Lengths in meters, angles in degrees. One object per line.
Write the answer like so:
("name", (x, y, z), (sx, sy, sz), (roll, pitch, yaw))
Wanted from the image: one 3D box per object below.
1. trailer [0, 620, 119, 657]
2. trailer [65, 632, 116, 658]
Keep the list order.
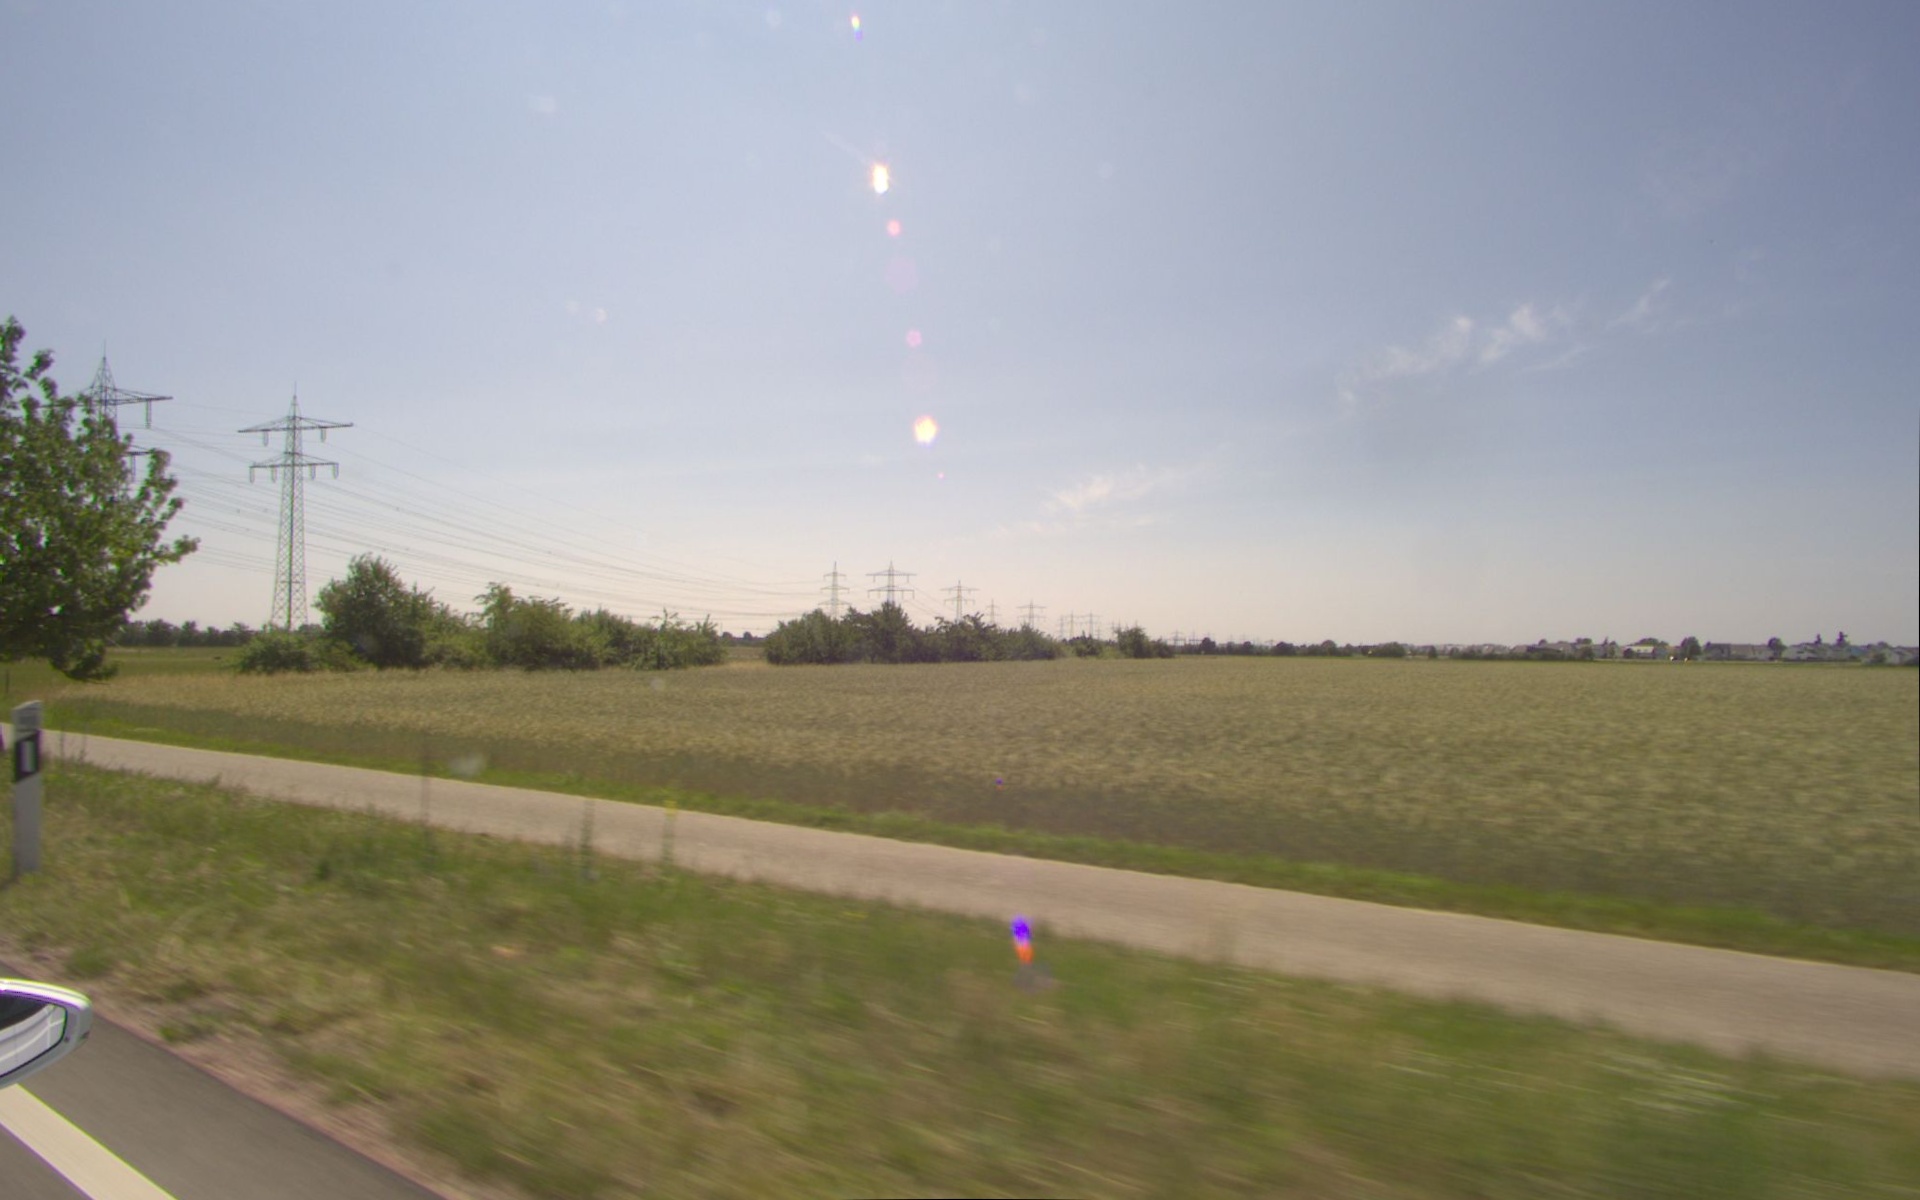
("trailer", (-91.628, 3.757, 98.425), (3.227, 3.518, 13.502), (0, -3, 29))
("trailer", (-87.407, 4.550, 100.686), (2.007, 2.493, 3.405), (0, -2, 30))
